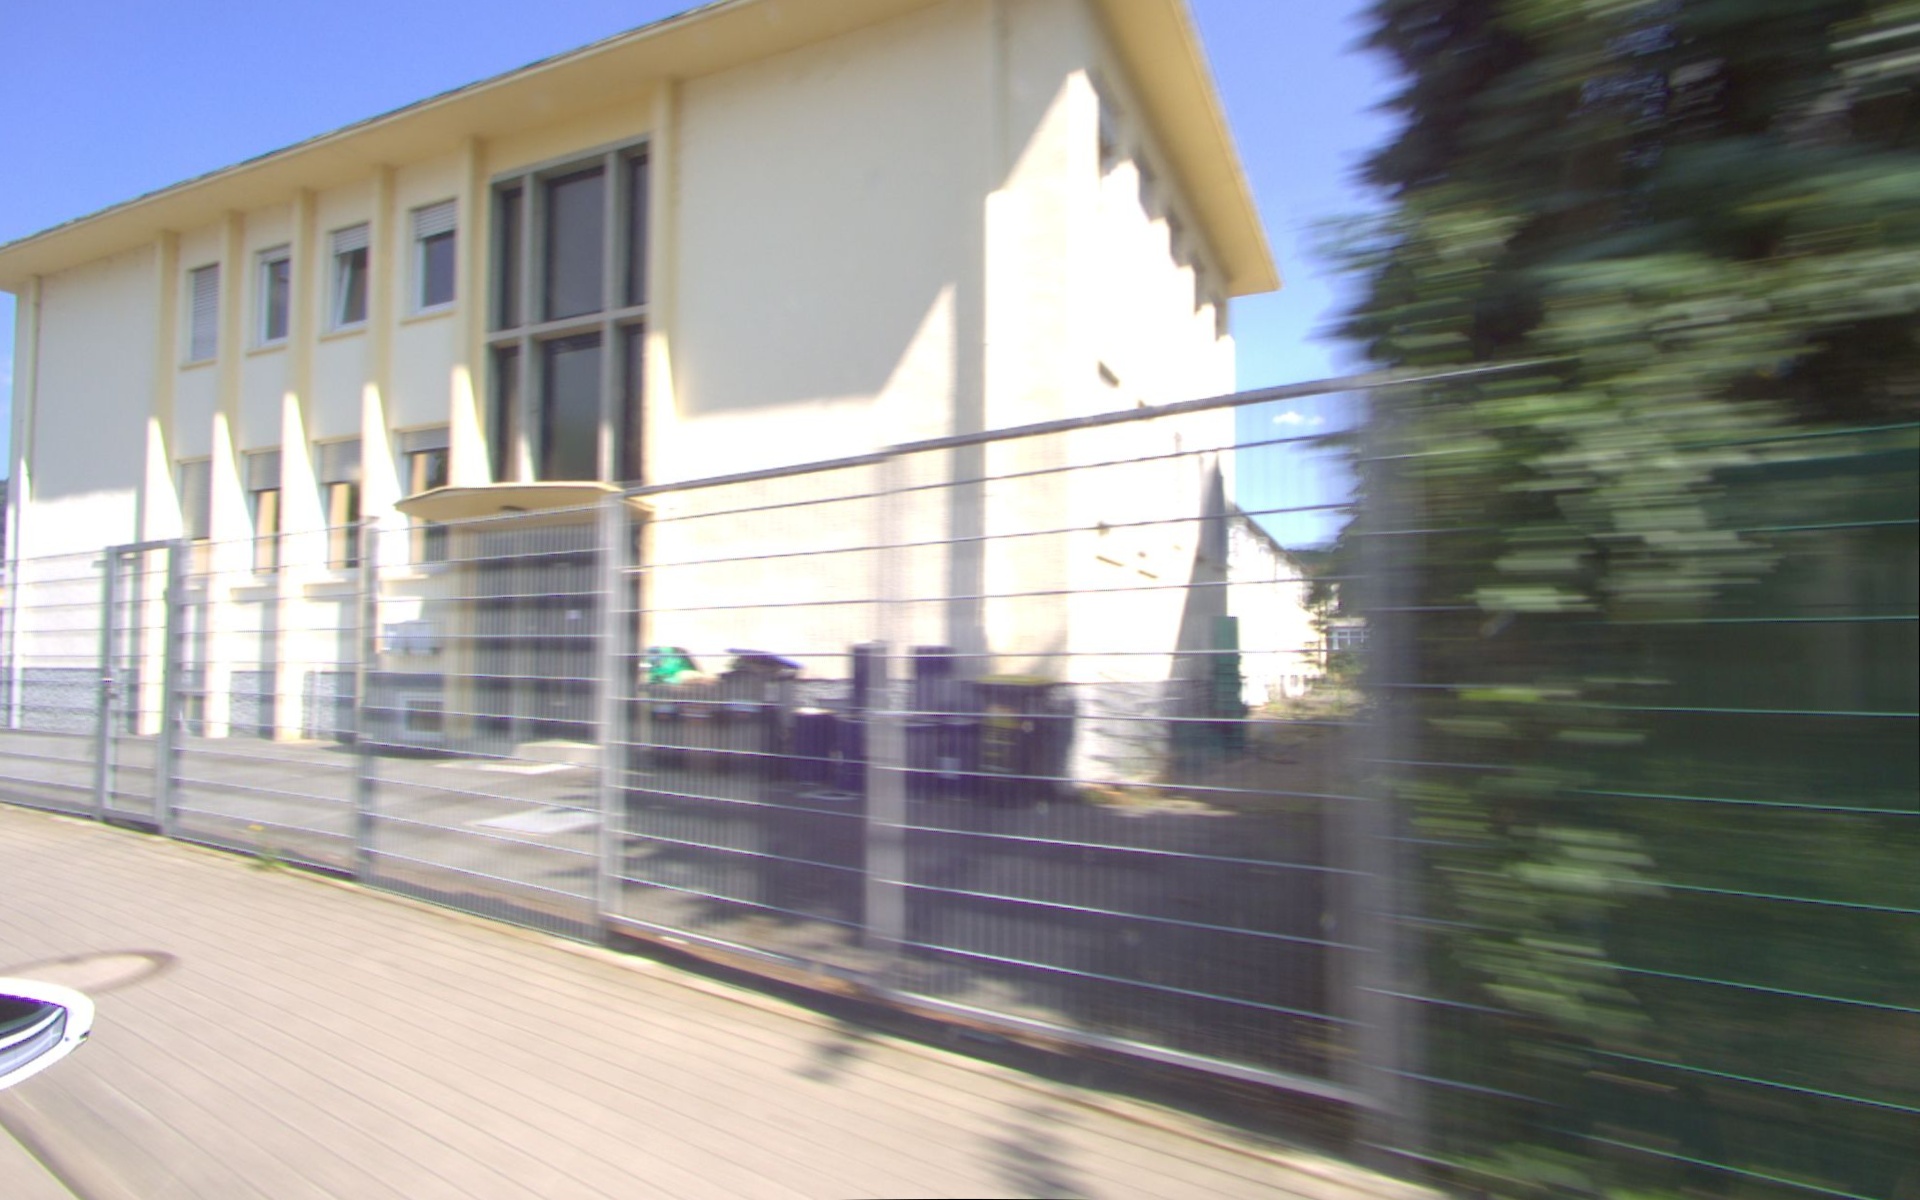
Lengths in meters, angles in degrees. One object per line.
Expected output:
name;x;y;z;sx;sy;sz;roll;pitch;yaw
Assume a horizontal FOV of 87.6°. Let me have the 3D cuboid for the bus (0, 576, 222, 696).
bus;-26.678;1.245;30.294;10.106;3.209;2.567;-3;-4;26
